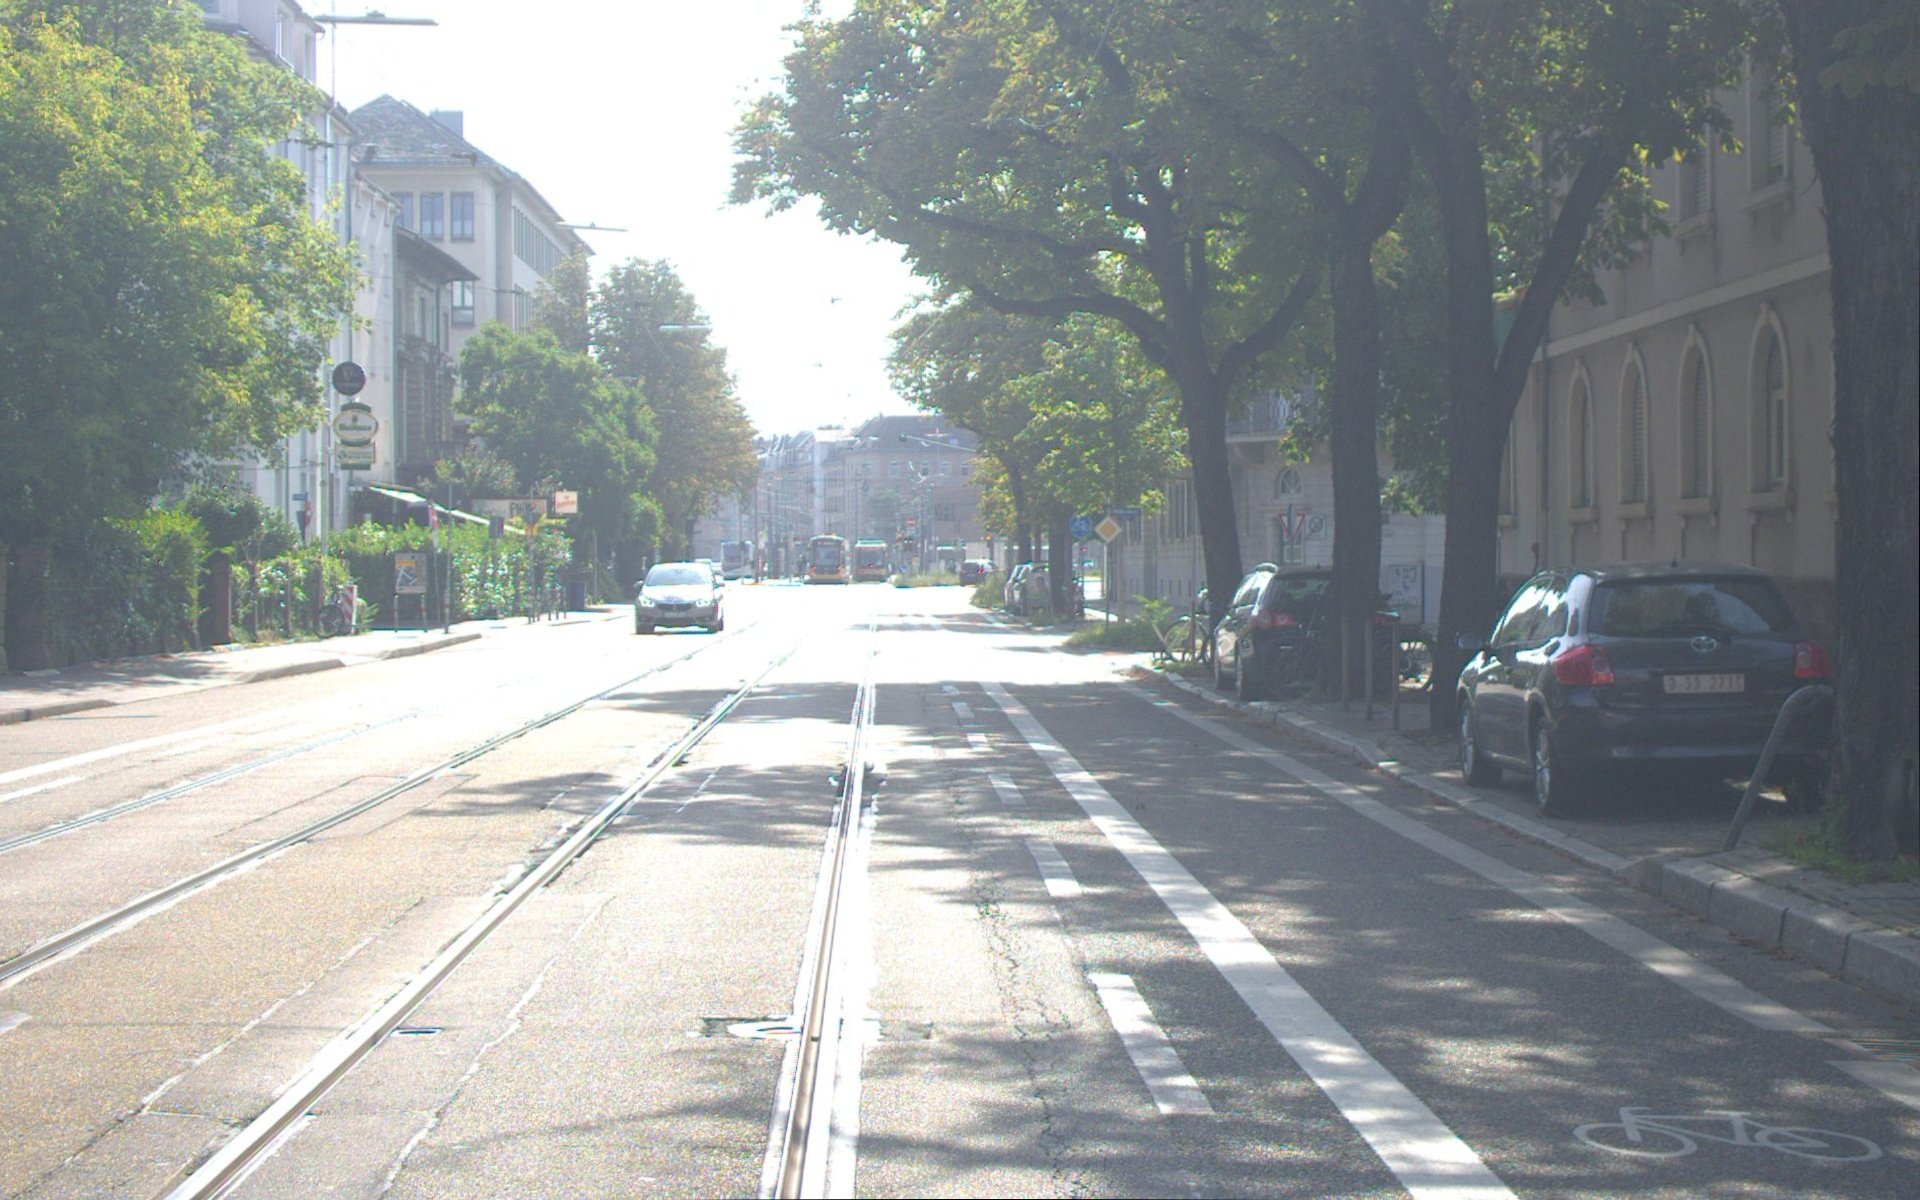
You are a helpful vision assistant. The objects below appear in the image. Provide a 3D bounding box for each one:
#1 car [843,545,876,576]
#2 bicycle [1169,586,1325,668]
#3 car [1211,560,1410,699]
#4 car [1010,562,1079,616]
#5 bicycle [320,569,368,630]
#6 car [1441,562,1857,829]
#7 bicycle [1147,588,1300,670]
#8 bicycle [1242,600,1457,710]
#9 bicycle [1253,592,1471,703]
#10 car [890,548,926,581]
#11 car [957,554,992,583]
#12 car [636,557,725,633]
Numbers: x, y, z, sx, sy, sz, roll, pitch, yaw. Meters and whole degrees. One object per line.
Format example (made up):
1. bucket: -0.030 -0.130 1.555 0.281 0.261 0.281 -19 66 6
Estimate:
1. car: -6.813 -2.685 233.212 1.993 2.007 4.000 2 1 2
2. bicycle: 4.036 0.376 48.483 2.106 1.101 0.616 -1 1 -2
3. car: 3.903 0.320 38.891 1.771 1.468 3.974 -1 0 -1
4. car: 2.350 -0.307 96.225 1.771 1.468 3.974 -1 0 -1
5. bicycle: -12.485 -0.020 69.737 0.561 1.217 2.114 0 1 1
6. car: 4.263 0.536 21.869 1.726 1.499 3.985 -2 0 -1
7. bicycle: 3.779 0.413 49.371 2.106 1.101 0.616 -1 1 -2
8. bicycle: 3.988 0.555 35.237 2.106 1.101 0.563 0 0 -8
9. bicycle: 4.056 0.476 34.713 2.106 1.101 0.563 0 0 -8
10. car: -3.264 -2.221 214.986 1.994 2.007 4.000 2 1 2
11. car: 0.973 -2.055 222.237 1.994 1.777 4.000 2 1 3
12. car: -6.158 -0.139 76.073 1.726 1.632 3.985 0 1 -1
